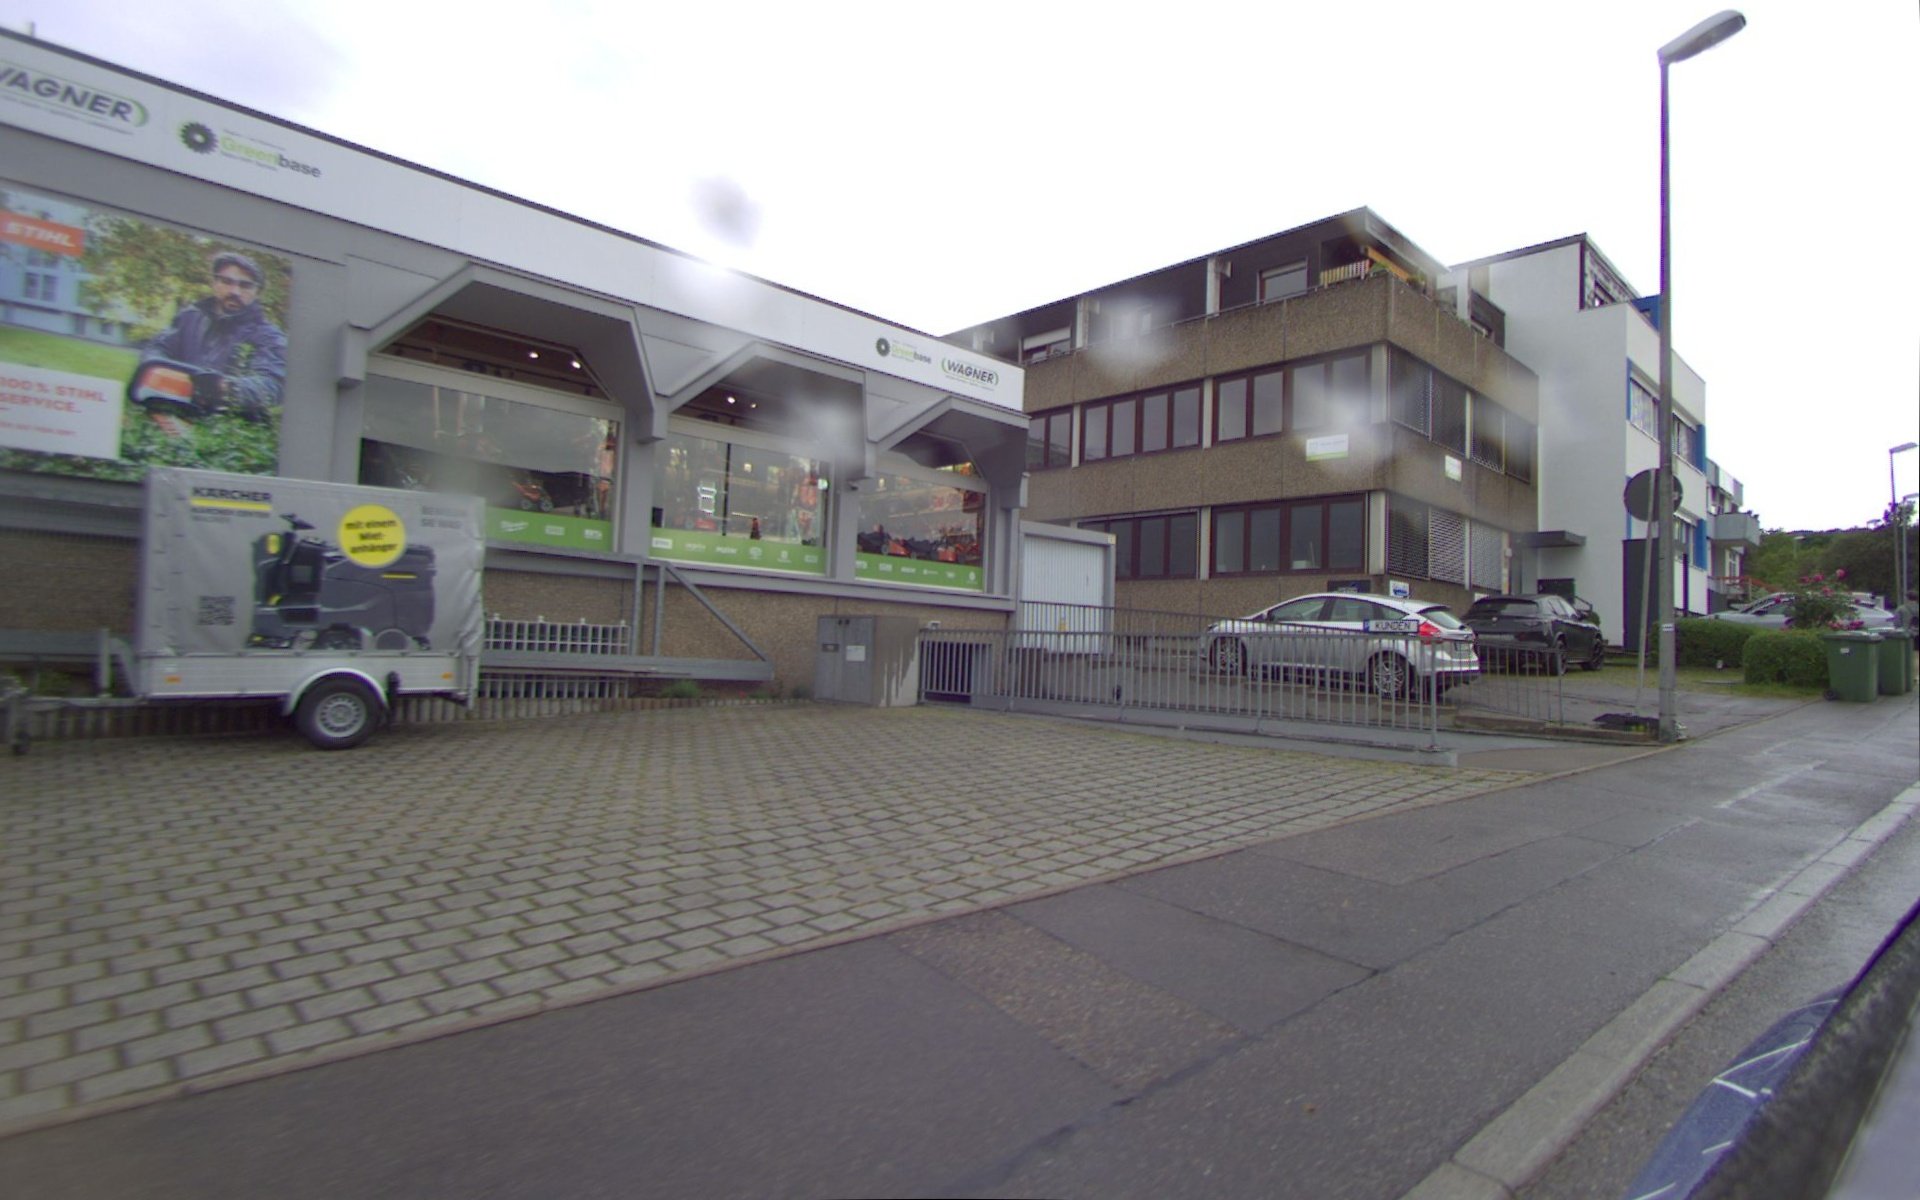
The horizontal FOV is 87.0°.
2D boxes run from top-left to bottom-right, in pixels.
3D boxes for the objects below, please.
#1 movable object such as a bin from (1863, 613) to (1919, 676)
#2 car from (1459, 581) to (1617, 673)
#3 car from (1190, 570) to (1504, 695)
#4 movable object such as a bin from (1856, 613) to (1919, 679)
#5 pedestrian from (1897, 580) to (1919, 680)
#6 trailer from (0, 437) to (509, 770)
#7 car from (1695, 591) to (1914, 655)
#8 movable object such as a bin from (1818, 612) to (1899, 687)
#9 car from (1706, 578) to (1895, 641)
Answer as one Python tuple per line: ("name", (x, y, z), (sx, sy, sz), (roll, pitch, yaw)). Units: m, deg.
("movable object such as a bin", (16.130, 0.746, 17.434), (0.794, 1.043, 0.772), (0, -1, -42))
("car", (12.384, 0.482, 21.559), (4.399, 1.772, 1.750), (-1, 1, -44))
("car", (5.927, 0.384, 15.833), (1.970, 1.593, 4.125), (-1, 3, -43))
("movable object such as a bin", (15.574, 0.756, 16.971), (0.626, 1.080, 0.744), (1, -1, -42))
("pedestrian", (17.474, 0.527, 18.260), (0.794, 1.790, 0.737), (0, -1, -42))
("trailer", (-6.612, 0.046, 9.134), (4.234, 2.448, 1.889), (2, -1, -42))
("car", (24.038, 0.586, 28.932), (2.044, 1.557, 4.602), (0, 2, -43))
("movable object such as a bin", (14.023, 0.757, 15.801), (0.689, 1.127, 0.732), (0, -1, -27))
("car", (25.948, 0.257, 31.324), (2.055, 1.795, 4.343), (0, 0, -45))
